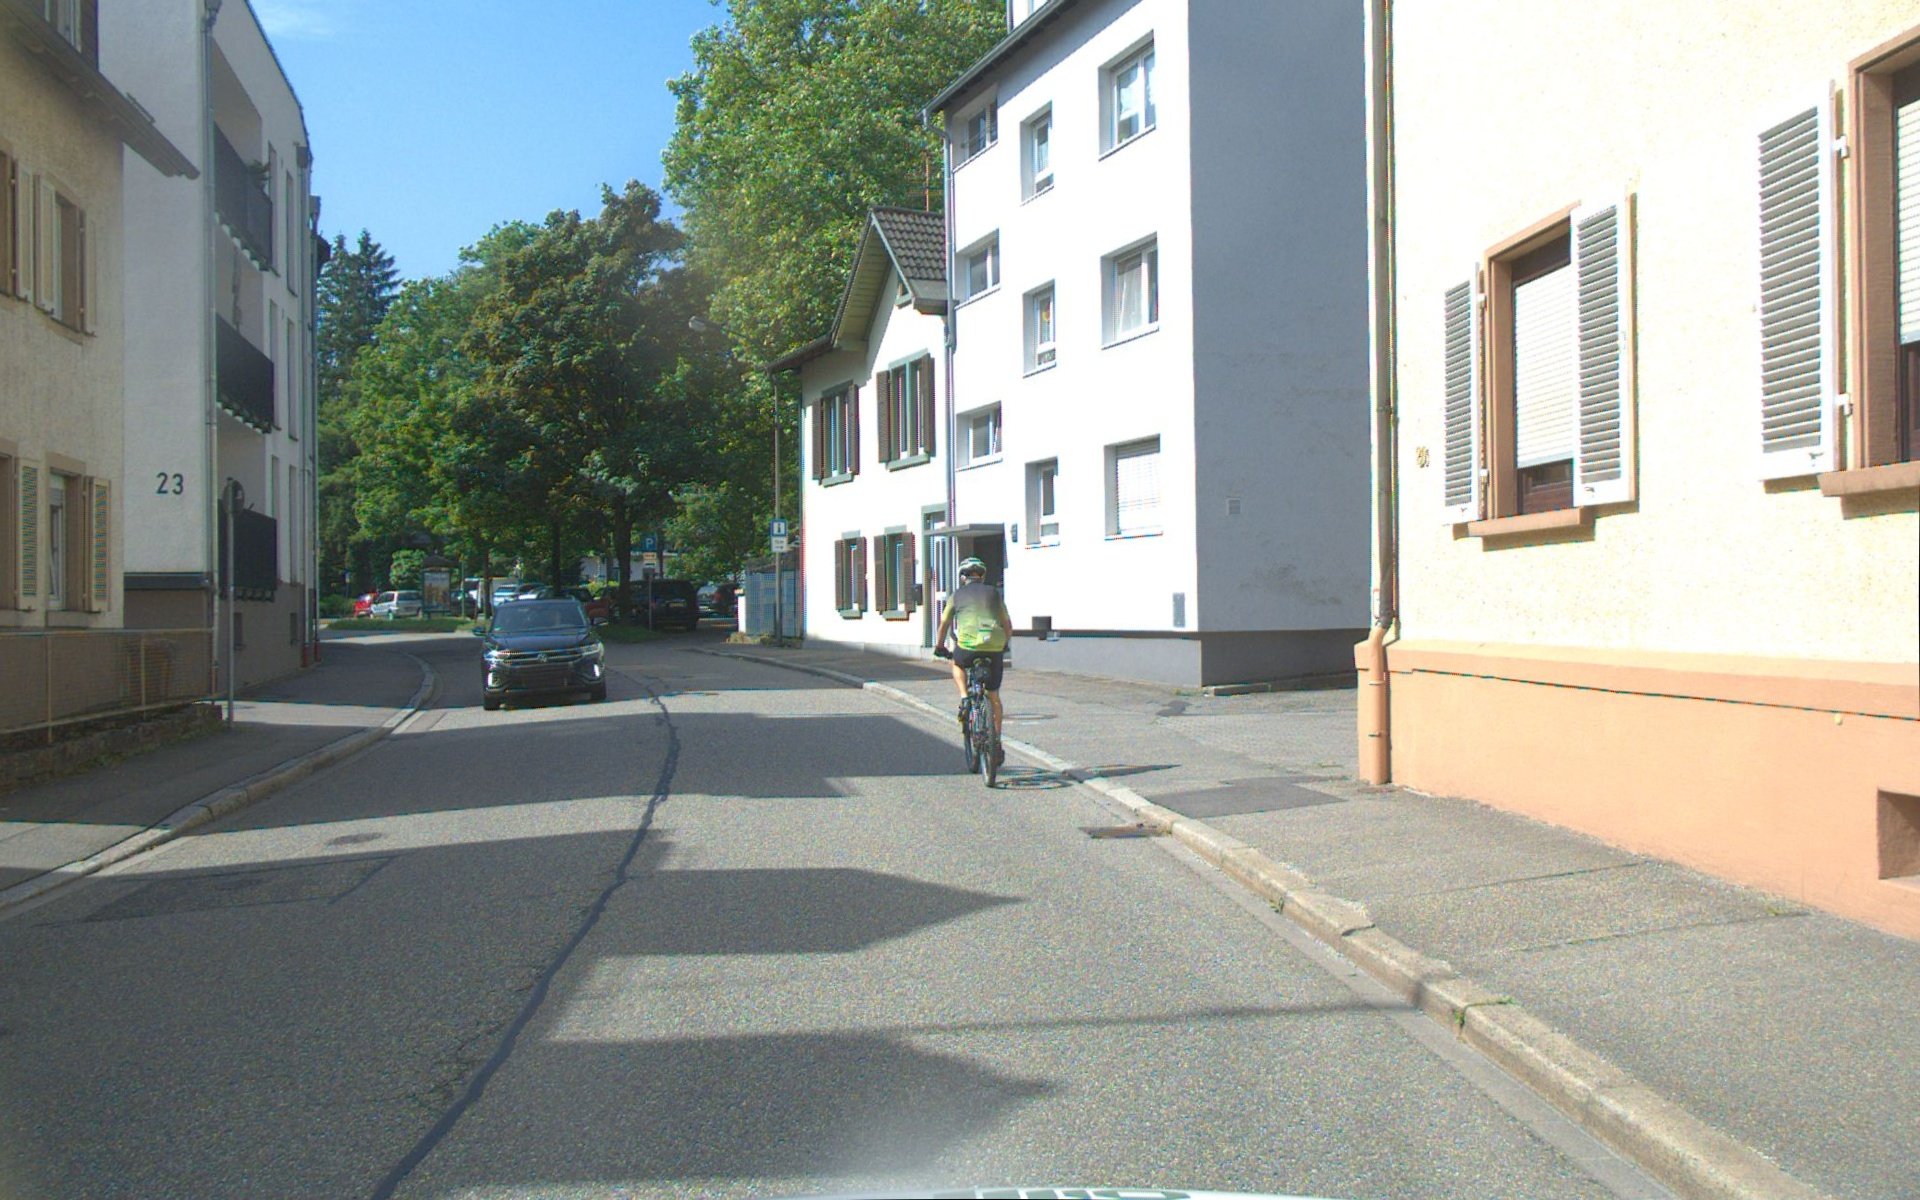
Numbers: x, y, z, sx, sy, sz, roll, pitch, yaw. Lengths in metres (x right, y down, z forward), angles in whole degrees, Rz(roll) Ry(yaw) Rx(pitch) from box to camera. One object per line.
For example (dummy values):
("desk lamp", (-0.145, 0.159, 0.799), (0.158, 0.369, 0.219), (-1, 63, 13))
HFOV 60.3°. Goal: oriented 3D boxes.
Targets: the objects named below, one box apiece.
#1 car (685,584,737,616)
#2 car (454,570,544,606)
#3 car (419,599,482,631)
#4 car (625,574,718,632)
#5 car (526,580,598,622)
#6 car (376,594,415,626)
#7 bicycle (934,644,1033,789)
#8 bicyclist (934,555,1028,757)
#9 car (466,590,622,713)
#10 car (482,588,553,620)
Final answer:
("car", (-10.493, -0.001, 69.562), (1.558, 1.279, 3.838), (-2, 1, -18))
("car", (-24.860, -0.641, 89.288), (1.956, 1.887, 4.693), (-1, 0, 29))
("car", (-24.244, 0.704, 78.621), (1.663, 1.493, 3.360), (-1, 0, -40))
("car", (-9.805, 0.073, 56.058), (1.804, 1.822, 3.958), (-2, 2, -31))
("car", (-16.007, 0.022, 66.421), (1.691, 1.569, 3.958), (-2, 2, -31))
("car", (-28.273, 0.489, 82.773), (1.719, 1.579, 3.730), (-1, 0, -21))
("bicycle", (0.171, 0.905, 13.324), (0.685, 1.053, 1.470), (0, 0, -3))
("bicyclist", (0.158, 0.439, 13.314), (0.672, 1.558, 0.715), (-2, 0, -3))
("car", (-6.192, 0.699, 25.025), (1.790, 1.563, 3.992), (-4, 1, -8))
("car", (-22.882, 0.179, 85.689), (1.771, 1.579, 4.003), (-1, 0, 14))
